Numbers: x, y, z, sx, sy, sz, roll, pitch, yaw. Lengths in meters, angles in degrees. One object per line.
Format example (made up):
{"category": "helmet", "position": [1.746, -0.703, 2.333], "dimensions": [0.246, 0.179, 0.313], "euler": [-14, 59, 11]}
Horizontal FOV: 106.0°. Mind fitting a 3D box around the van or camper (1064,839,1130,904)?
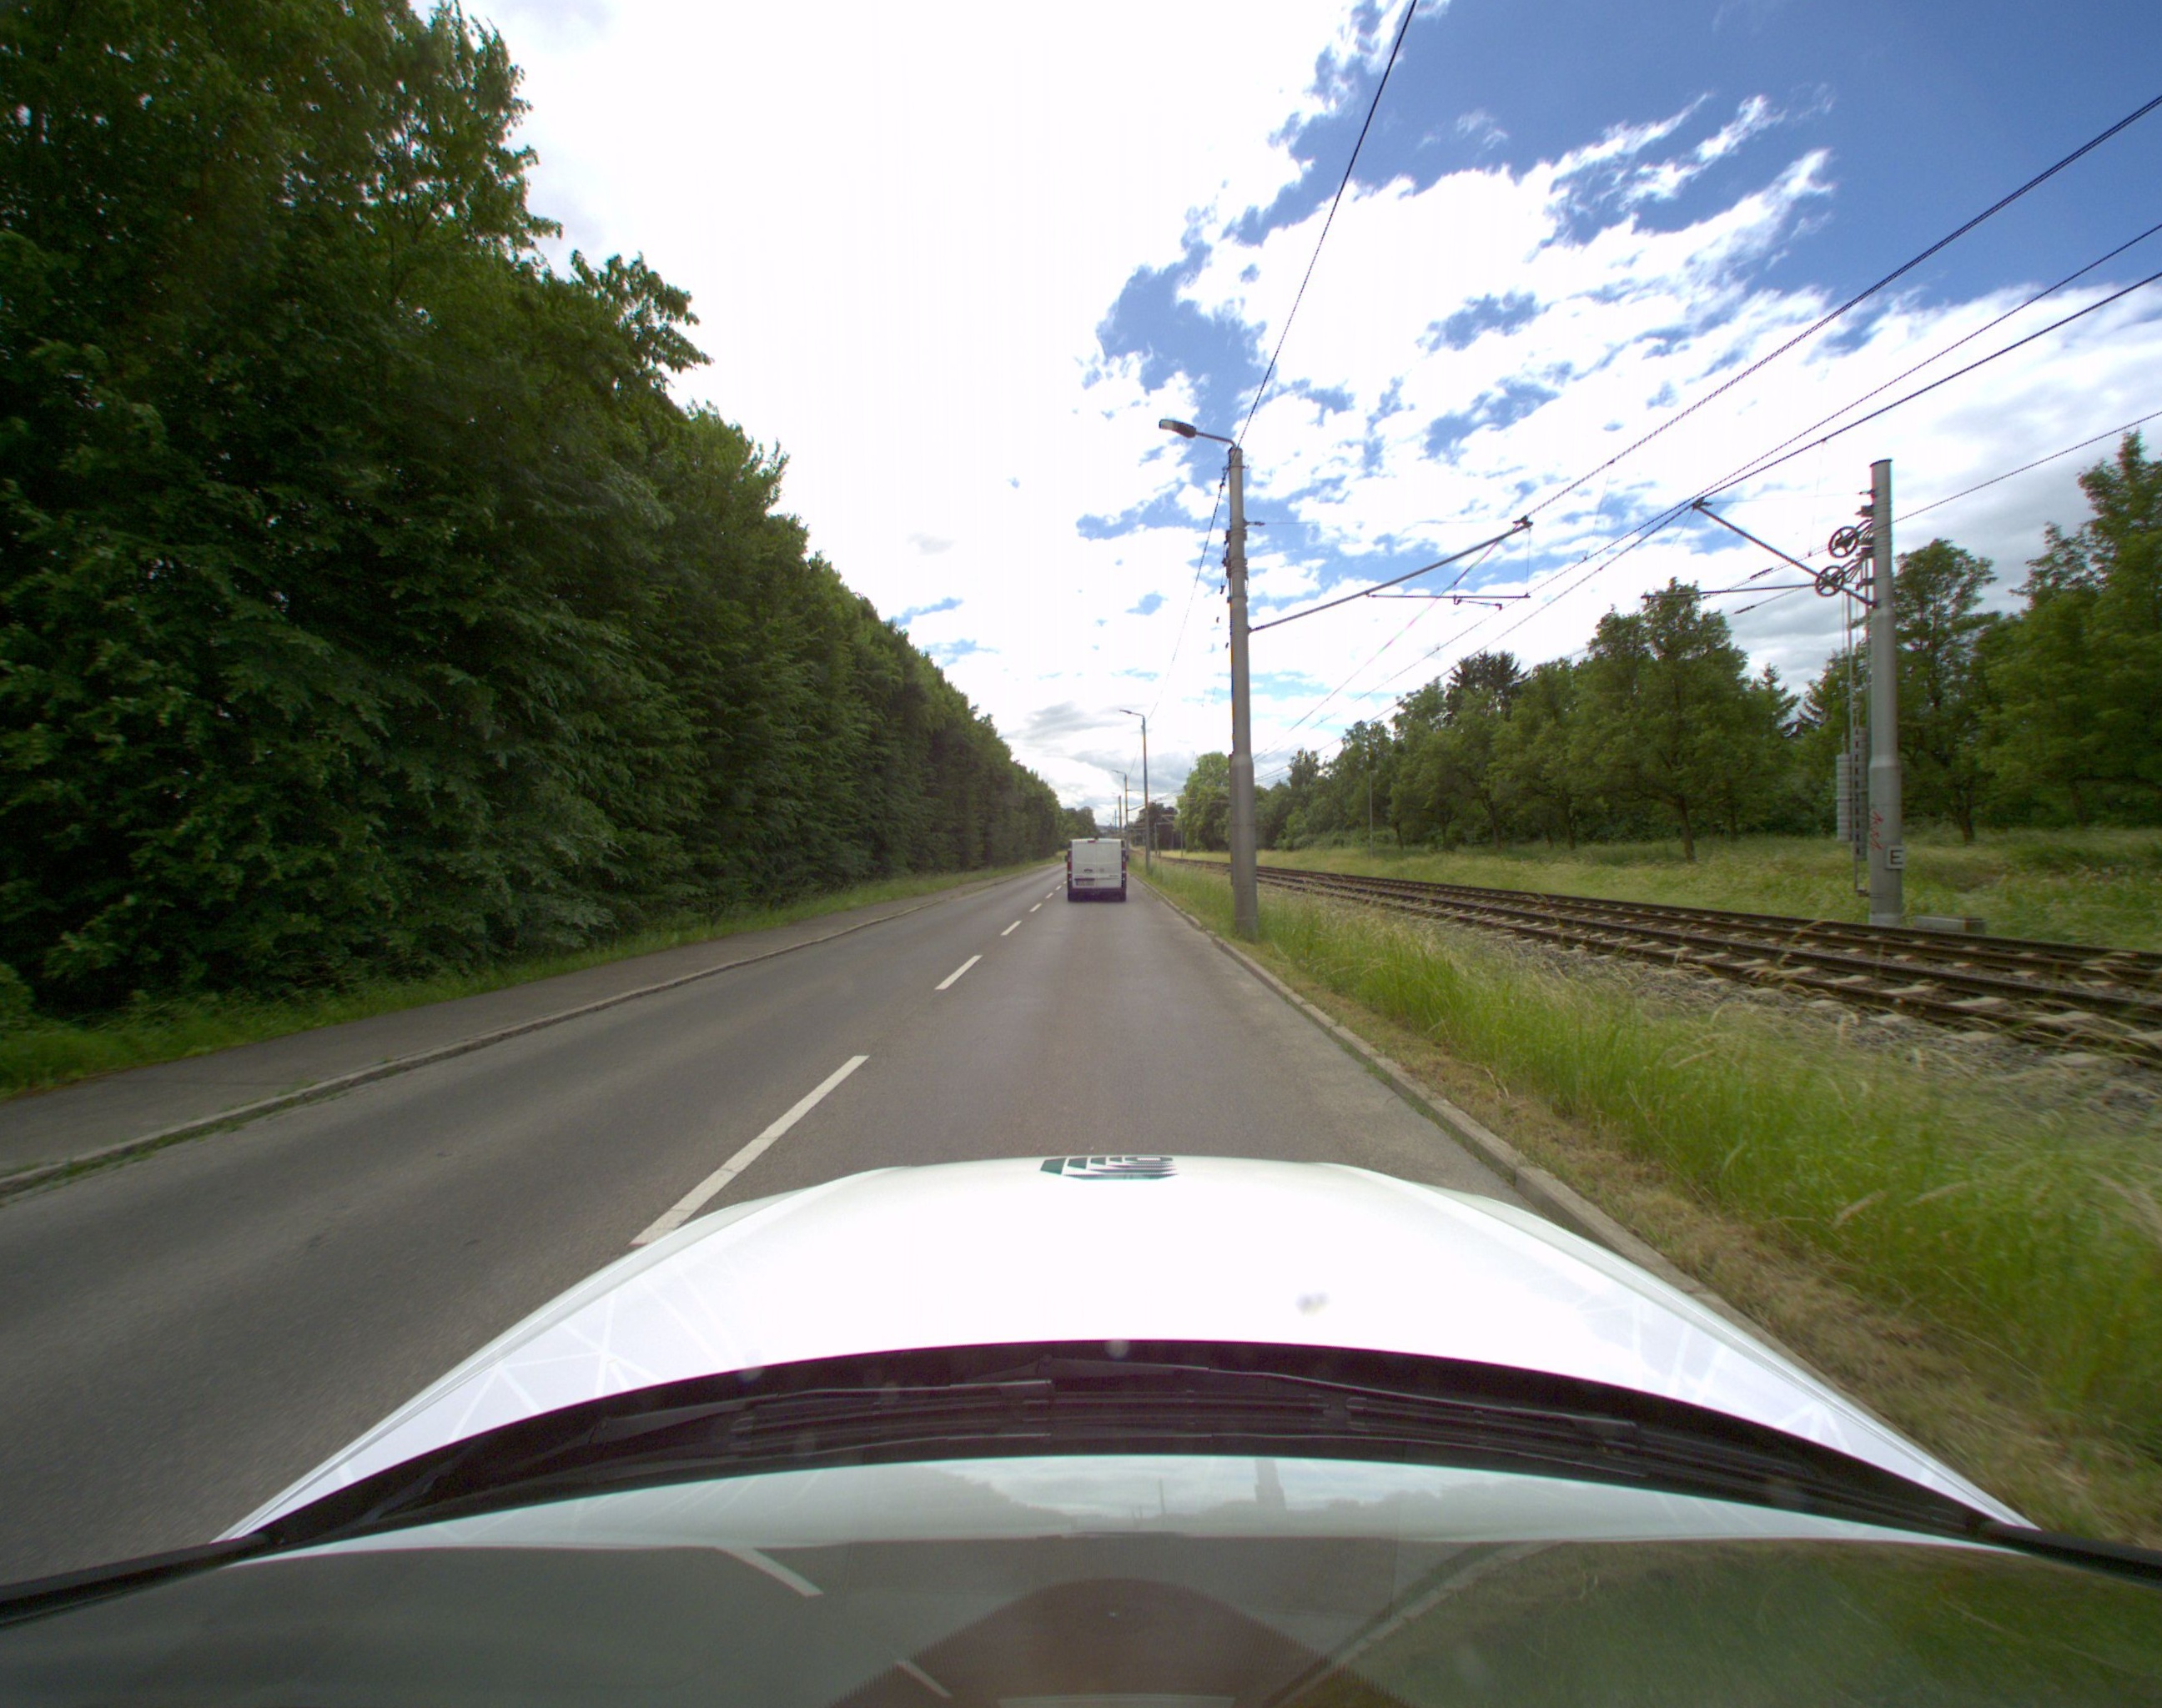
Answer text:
{"category": "van or camper", "position": [0.460, 0.512, 26.504], "dimensions": [1.936, 1.897, 4.283], "euler": [-1, 0, -1]}
